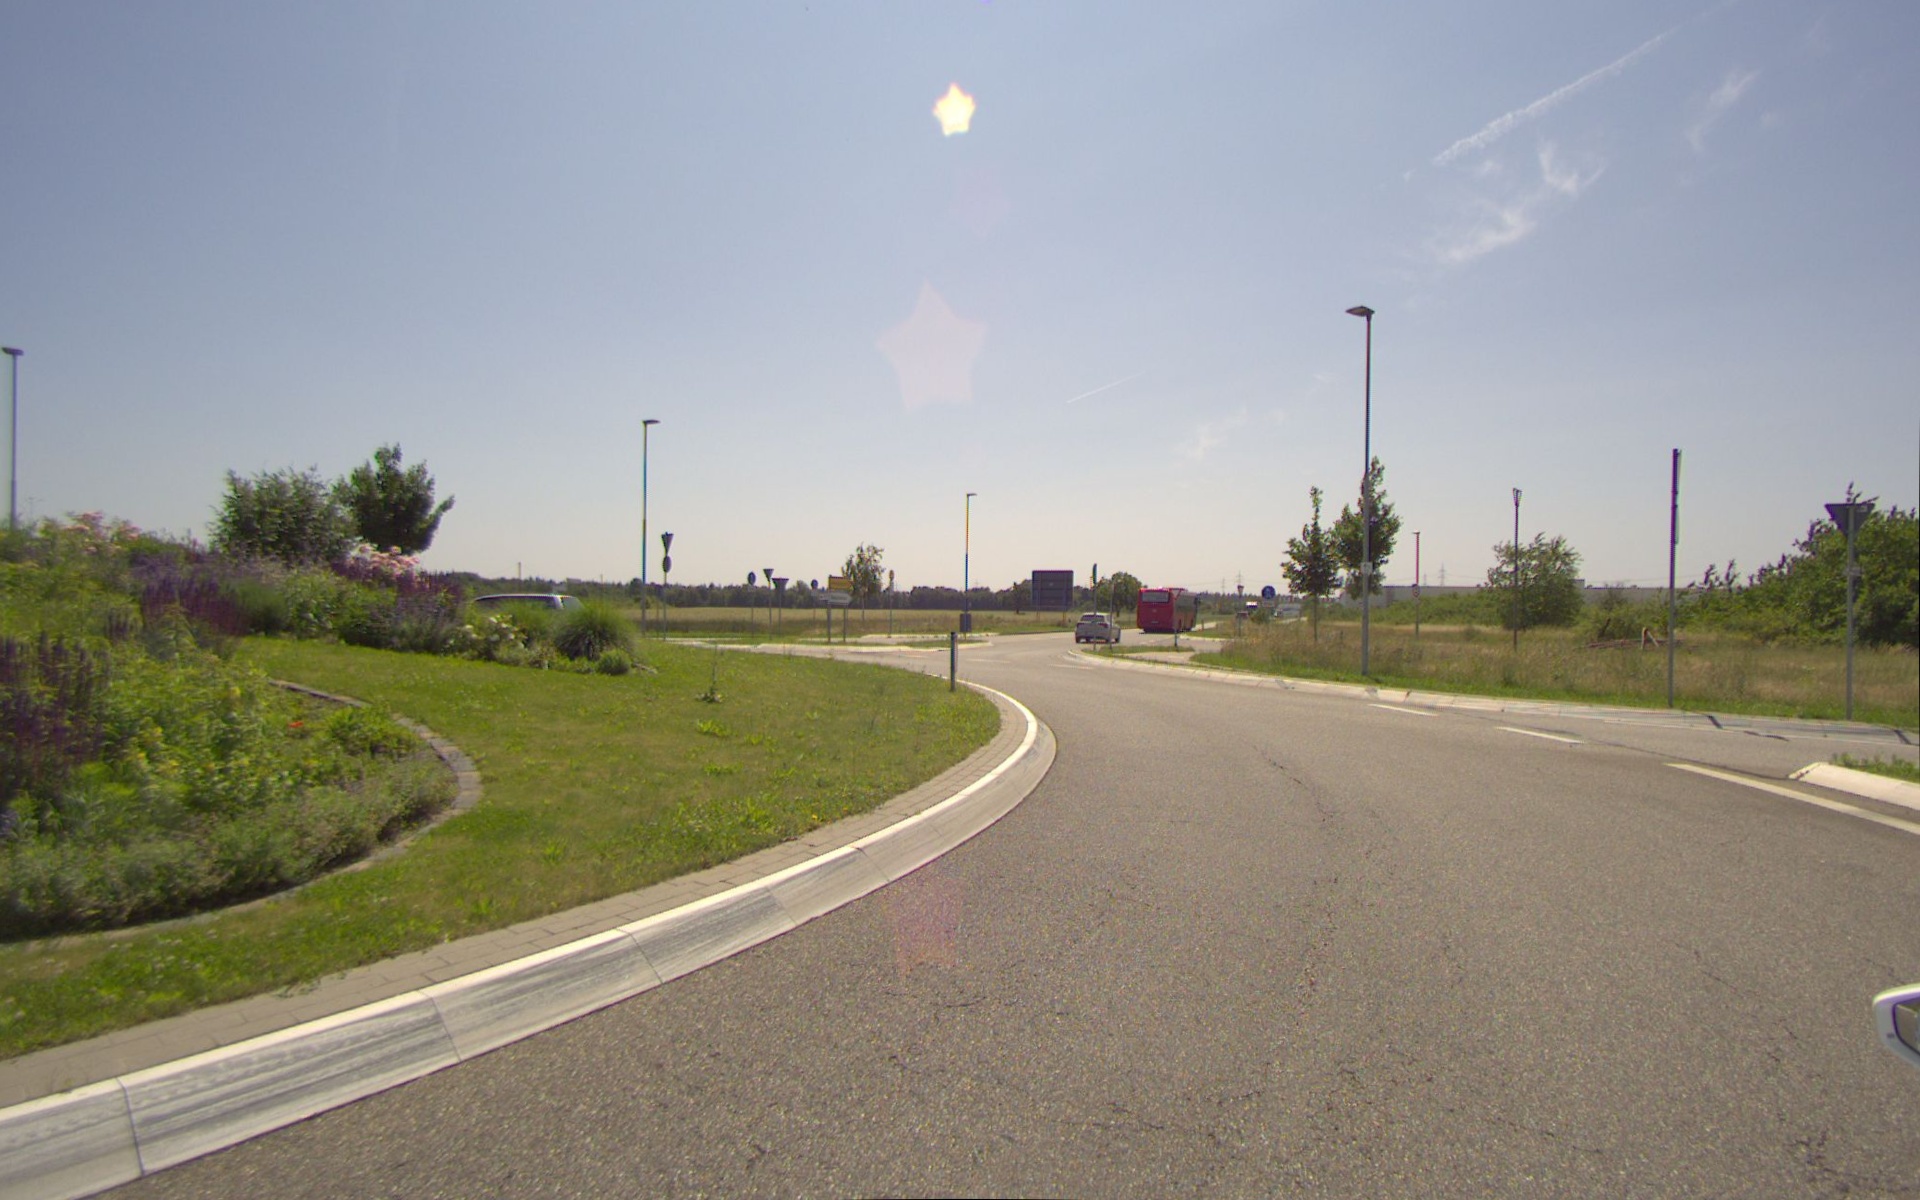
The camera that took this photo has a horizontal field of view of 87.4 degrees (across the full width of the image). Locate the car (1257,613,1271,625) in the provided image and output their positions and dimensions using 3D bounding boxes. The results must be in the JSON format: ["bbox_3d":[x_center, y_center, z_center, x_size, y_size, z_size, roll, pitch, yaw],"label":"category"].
[{"bbox_3d":[50.194,3.089,165.778,1.960,1.871,4.173,1,-1,18],"label":"car"}]

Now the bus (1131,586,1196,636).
[{"bbox_3d":[14.986,0.810,73.179,3.248,3.353,11.993,1,-1,18],"label":"bus"}]

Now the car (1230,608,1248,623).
[{"bbox_3d":[37.570,2.082,135.162,1.961,1.951,3.999,1,-1,21],"label":"car"}]

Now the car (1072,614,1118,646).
[{"bbox_3d":[6.657,1.432,49.311,1.694,1.483,3.603,1,-1,16],"label":"car"}]

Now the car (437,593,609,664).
[{"bbox_3d":[-11.290,0.704,25.980,3.921,1.696,1.778,1,-1,20],"label":"car"}]
